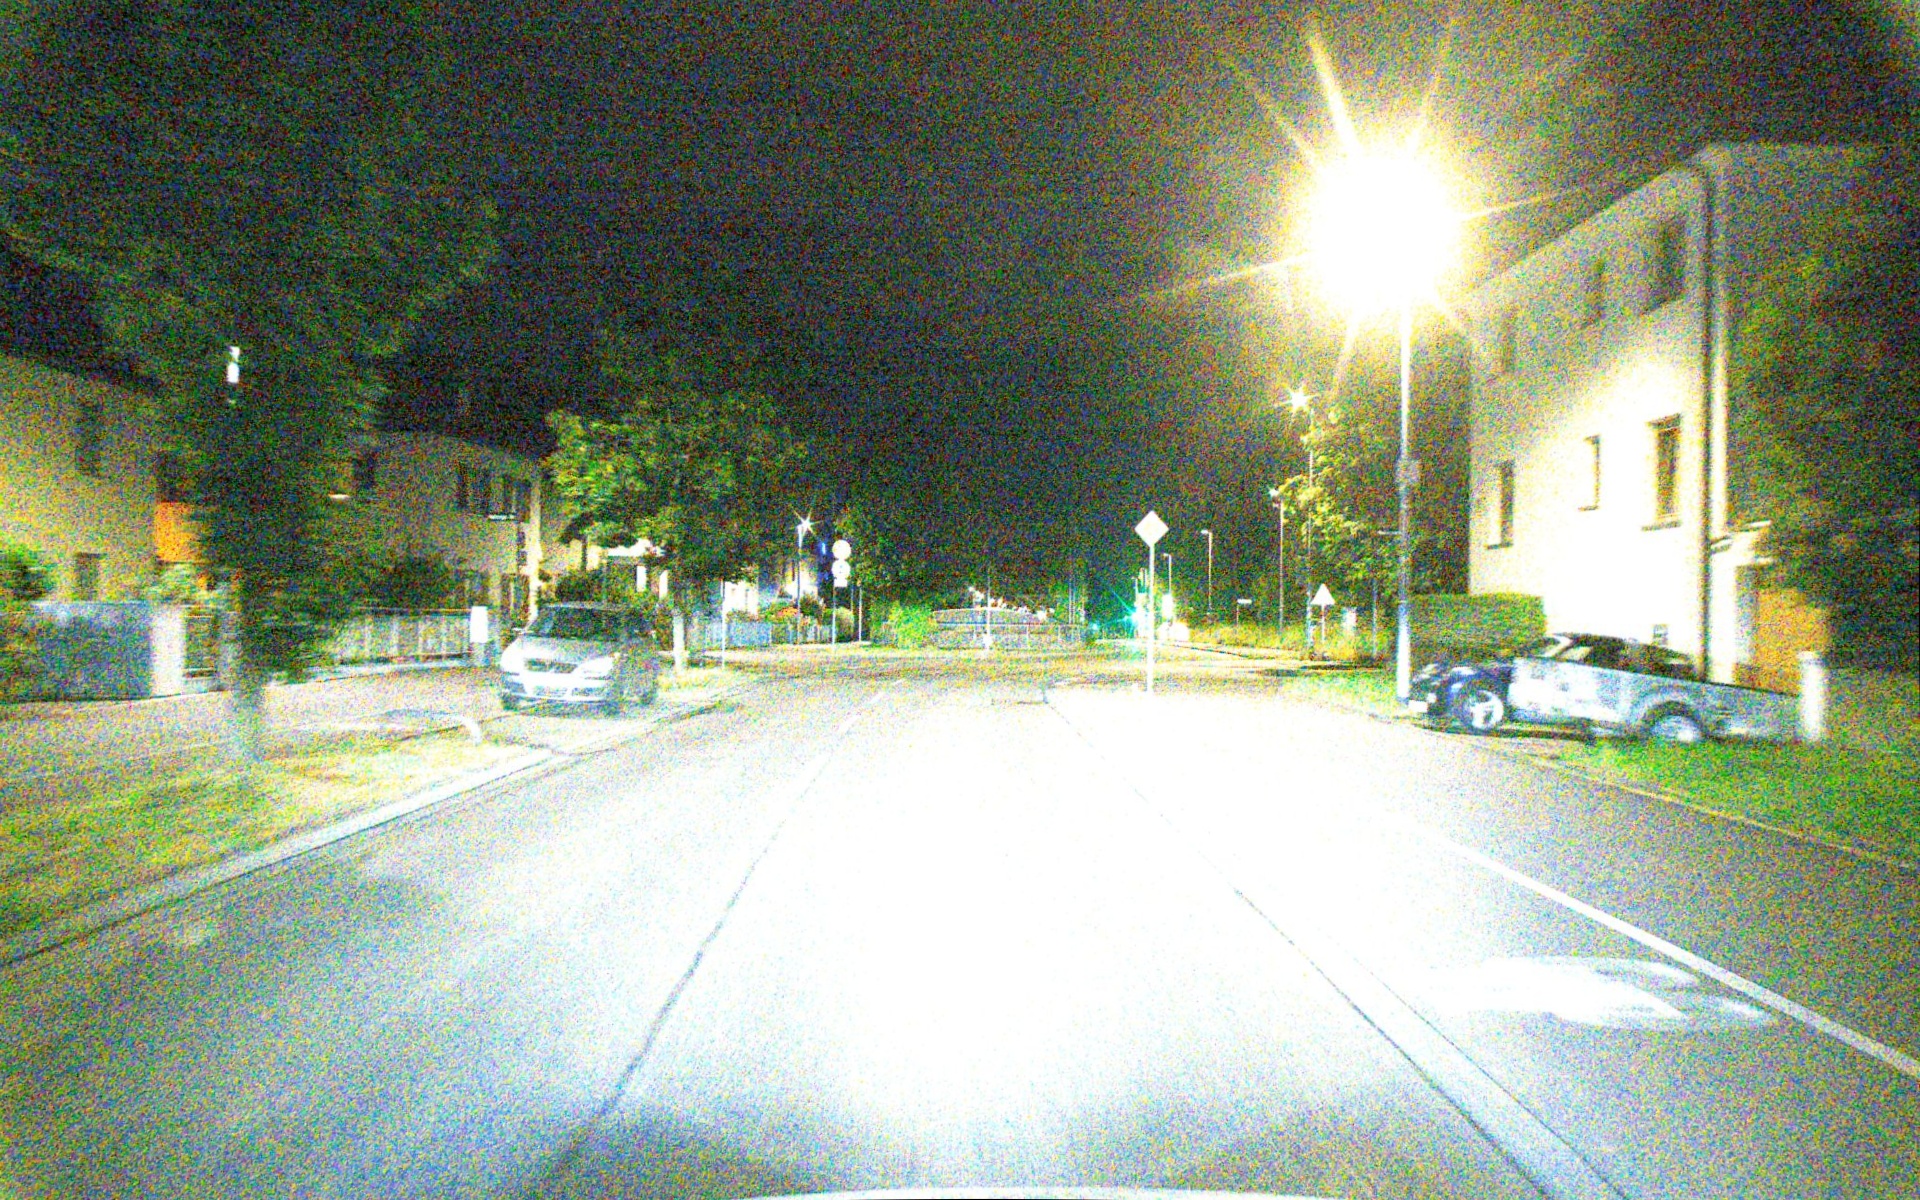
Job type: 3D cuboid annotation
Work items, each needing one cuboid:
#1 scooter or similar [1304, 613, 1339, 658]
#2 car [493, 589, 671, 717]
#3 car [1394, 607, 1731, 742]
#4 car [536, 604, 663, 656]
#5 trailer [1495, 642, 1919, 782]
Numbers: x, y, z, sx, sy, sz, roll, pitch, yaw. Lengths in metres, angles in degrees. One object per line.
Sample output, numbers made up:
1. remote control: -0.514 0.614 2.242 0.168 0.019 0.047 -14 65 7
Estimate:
1. scooter or similar: 10.830 1.050 49.623 0.599 1.303 1.689 1 0 -2
2. car: -5.246 0.687 23.403 1.638 1.618 3.986 1 0 -1
3. car: 7.152 0.865 19.855 3.324 1.253 1.724 5 0 -2
4. car: -11.671 0.967 53.628 3.635 1.655 1.783 0 -1 18
5. trailer: 7.212 1.049 16.041 3.362 1.020 1.954 4 0 -1
